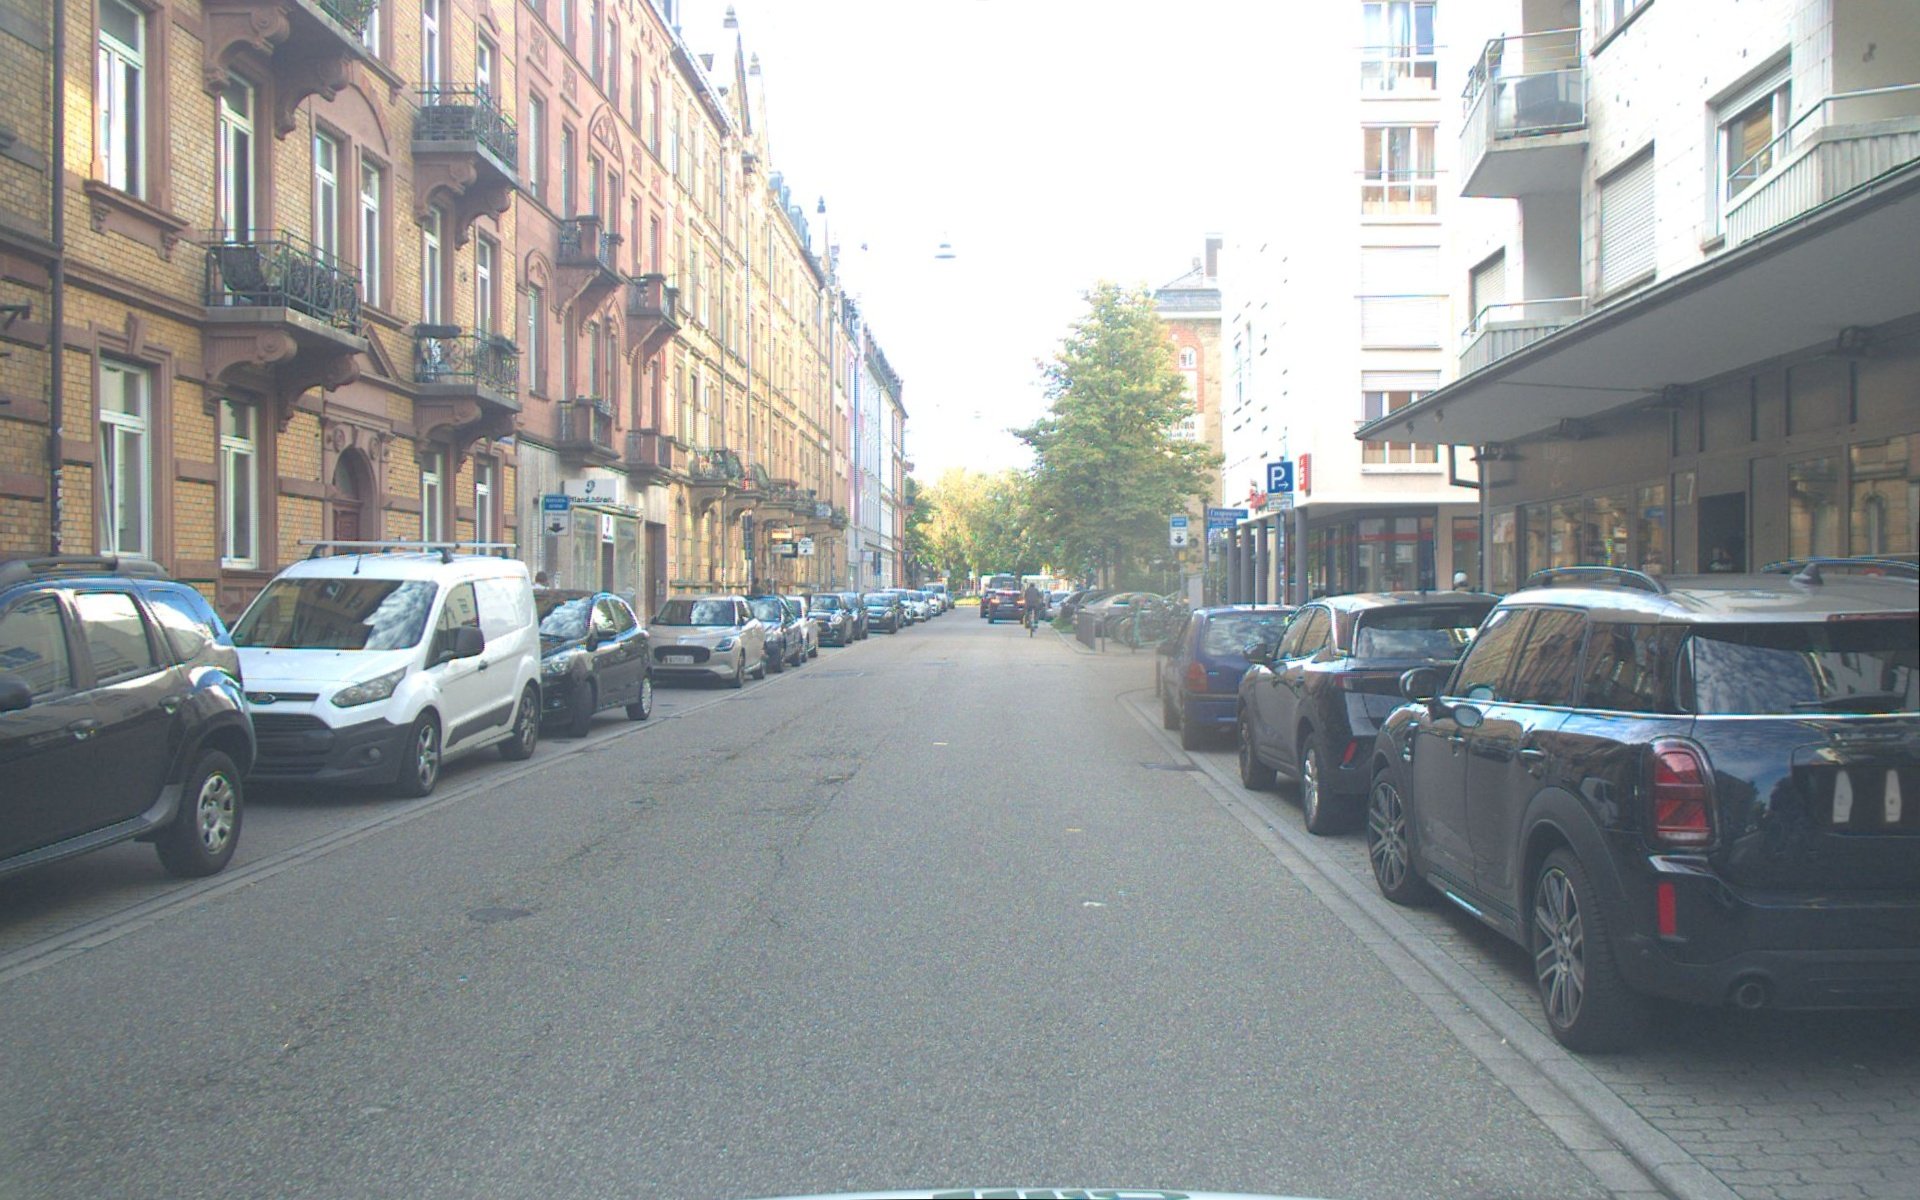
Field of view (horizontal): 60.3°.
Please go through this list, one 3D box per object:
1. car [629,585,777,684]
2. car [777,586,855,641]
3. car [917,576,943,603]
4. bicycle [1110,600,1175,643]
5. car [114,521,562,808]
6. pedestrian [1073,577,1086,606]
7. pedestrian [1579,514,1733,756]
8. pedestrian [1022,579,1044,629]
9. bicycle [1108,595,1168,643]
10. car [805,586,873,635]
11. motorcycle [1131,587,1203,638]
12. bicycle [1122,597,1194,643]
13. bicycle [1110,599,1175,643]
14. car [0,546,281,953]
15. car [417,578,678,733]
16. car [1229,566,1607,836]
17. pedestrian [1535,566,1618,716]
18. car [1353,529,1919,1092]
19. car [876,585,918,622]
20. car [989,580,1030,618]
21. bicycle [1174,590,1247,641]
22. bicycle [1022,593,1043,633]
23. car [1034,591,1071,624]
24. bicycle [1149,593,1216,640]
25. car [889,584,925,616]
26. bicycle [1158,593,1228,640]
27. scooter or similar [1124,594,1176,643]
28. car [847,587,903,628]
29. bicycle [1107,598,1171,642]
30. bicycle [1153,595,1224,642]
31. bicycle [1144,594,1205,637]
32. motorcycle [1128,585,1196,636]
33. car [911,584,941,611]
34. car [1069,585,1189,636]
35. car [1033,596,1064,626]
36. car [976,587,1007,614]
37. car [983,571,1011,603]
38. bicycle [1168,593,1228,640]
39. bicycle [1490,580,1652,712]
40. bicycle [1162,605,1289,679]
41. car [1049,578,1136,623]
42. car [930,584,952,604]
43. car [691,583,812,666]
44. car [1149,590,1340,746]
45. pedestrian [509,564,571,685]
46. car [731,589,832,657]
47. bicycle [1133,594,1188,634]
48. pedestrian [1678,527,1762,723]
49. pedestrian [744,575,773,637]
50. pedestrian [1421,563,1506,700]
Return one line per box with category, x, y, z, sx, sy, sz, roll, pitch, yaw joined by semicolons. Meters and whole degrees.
car;-4.268;0.532;28.039;1.705;1.509;3.985;1;1;2
car;-3.968;0.342;46.157;1.655;1.411;3.868;1;1;2
car;-2.138;-0.749;118.043;1.655;1.853;3.867;2;0;1
bicycle;5.005;0.587;45.397;1.728;1.118;0.412;-2;1;4
car;-4.738;0.413;13.398;1.880;1.904;4.437;1;1;1
pedestrian;9.468;-0.644;131.344;0.975;2.269;0.899;1;0;2
pedestrian;5.327;0.248;12.717;0.600;1.756;1.126;-2;1;-4
pedestrian;2.483;0.136;56.453;0.703;1.679;0.930;1;0;2
bicycle;4.604;0.482;42.872;1.465;1.166;0.411;-2;1;-4
car;-3.768;0.298;52.157;1.655;1.462;3.868;1;1;2
motorcycle;6.284;0.367;50.338;2.105;1.460;0.766;-2;1;6
bicycle;4.969;0.495;41.496;1.730;1.075;0.411;-2;1;-4
bicycle;5.086;0.581;46.140;1.728;1.138;0.412;-2;1;4
car;-4.894;0.585;7.415;1.953;1.666;4.145;1;0;0
car;-4.499;0.564;18.664;1.705;1.509;3.985;1;0;3
car;3.074;0.605;11.907;1.653;1.605;3.902;-1;0;0
pedestrian;6.851;0.442;18.407;0.630;1.616;0.781;-2;0;3
car;2.904;0.591;6.760;1.755;1.633;3.925;0;1;2
car;-2.844;0.138;74.807;1.655;1.577;3.867;2;0;1
car;2.427;-0.036;81.337;1.924;1.771;4.042;1;0;2
bicycle;6.209;0.389;41.057;1.728;1.182;0.650;-2;1;4
bicycle;2.470;0.427;56.333;0.703;1.296;1.884;1;1;3
car;4.944;0.380;88.682;1.890;1.666;4.001;1;1;2
bicycle;5.905;0.430;43.940;1.739;1.166;0.409;-2;1;-19
car;-2.746;0.005;86.887;1.655;1.577;3.867;2;0;1
bicycle;6.109;0.427;43.431;1.731;1.166;0.411;-2;1;-4
scooter or similar;4.692;0.453;40.890;1.184;1.167;0.377;-2;1;34
car;-3.173;0.264;62.442;1.655;1.393;3.868;4;1;2
bicycle;5.084;0.570;47.074;1.756;1.179;0.500;-2;1;4
bicycle;5.815;0.464;42.116;1.728;1.106;0.650;-2;1;4
bicycle;6.281;0.460;48.442;1.696;1.179;0.500;-2;1;3
motorcycle;6.510;0.339;53.362;2.105;1.557;0.686;-2;1;6
car;-2.065;-0.149;101.961;1.655;1.577;3.867;2;0;1
car;5.668;0.348;55.657;3.690;1.573;1.727;-2;-1;-9
car;4.983;0.598;93.169;1.655;1.577;3.689;2;0;2
car;1.824;0.036;97.527;1.760;1.497;3.888;1;1;1
car;2.457;-0.854;110.452;1.745;2.055;3.888;1;1;1
bicycle;6.172;0.429;42.890;1.464;1.166;0.411;-2;1;2
bicycle;6.616;0.464;18.076;0.899;1.313;2.500;-2;0;2
bicycle;4.139;0.664;25.859;1.930;1.114;0.685;-1;-3;45
car;6.179;0.006;76.859;3.902;1.712;1.740;-2;8;6
car;-1.538;-0.496;133.447;1.655;1.577;3.867;2;0;1
car;-4.083;0.433;32.903;1.705;1.509;3.985;1;1;2
car;2.966;0.645;17.935;1.562;1.464;4.032;-1;1;3
pedestrian;-6.596;0.373;25.991;0.716;1.821;0.771;4;0;-5
car;-3.966;0.481;37.299;1.655;1.411;3.868;1;1;2
bicycle;6.253;0.438;51.684;1.629;1.179;0.557;-2;1;3
pedestrian;7.553;0.236;16.433;0.694;1.893;0.643;0;0;31
pedestrian;-6.277;0.180;51.541;0.674;1.885;0.932;1;0;3
pedestrian;6.064;0.368;19.961;0.806;1.616;0.781;0;0;3
